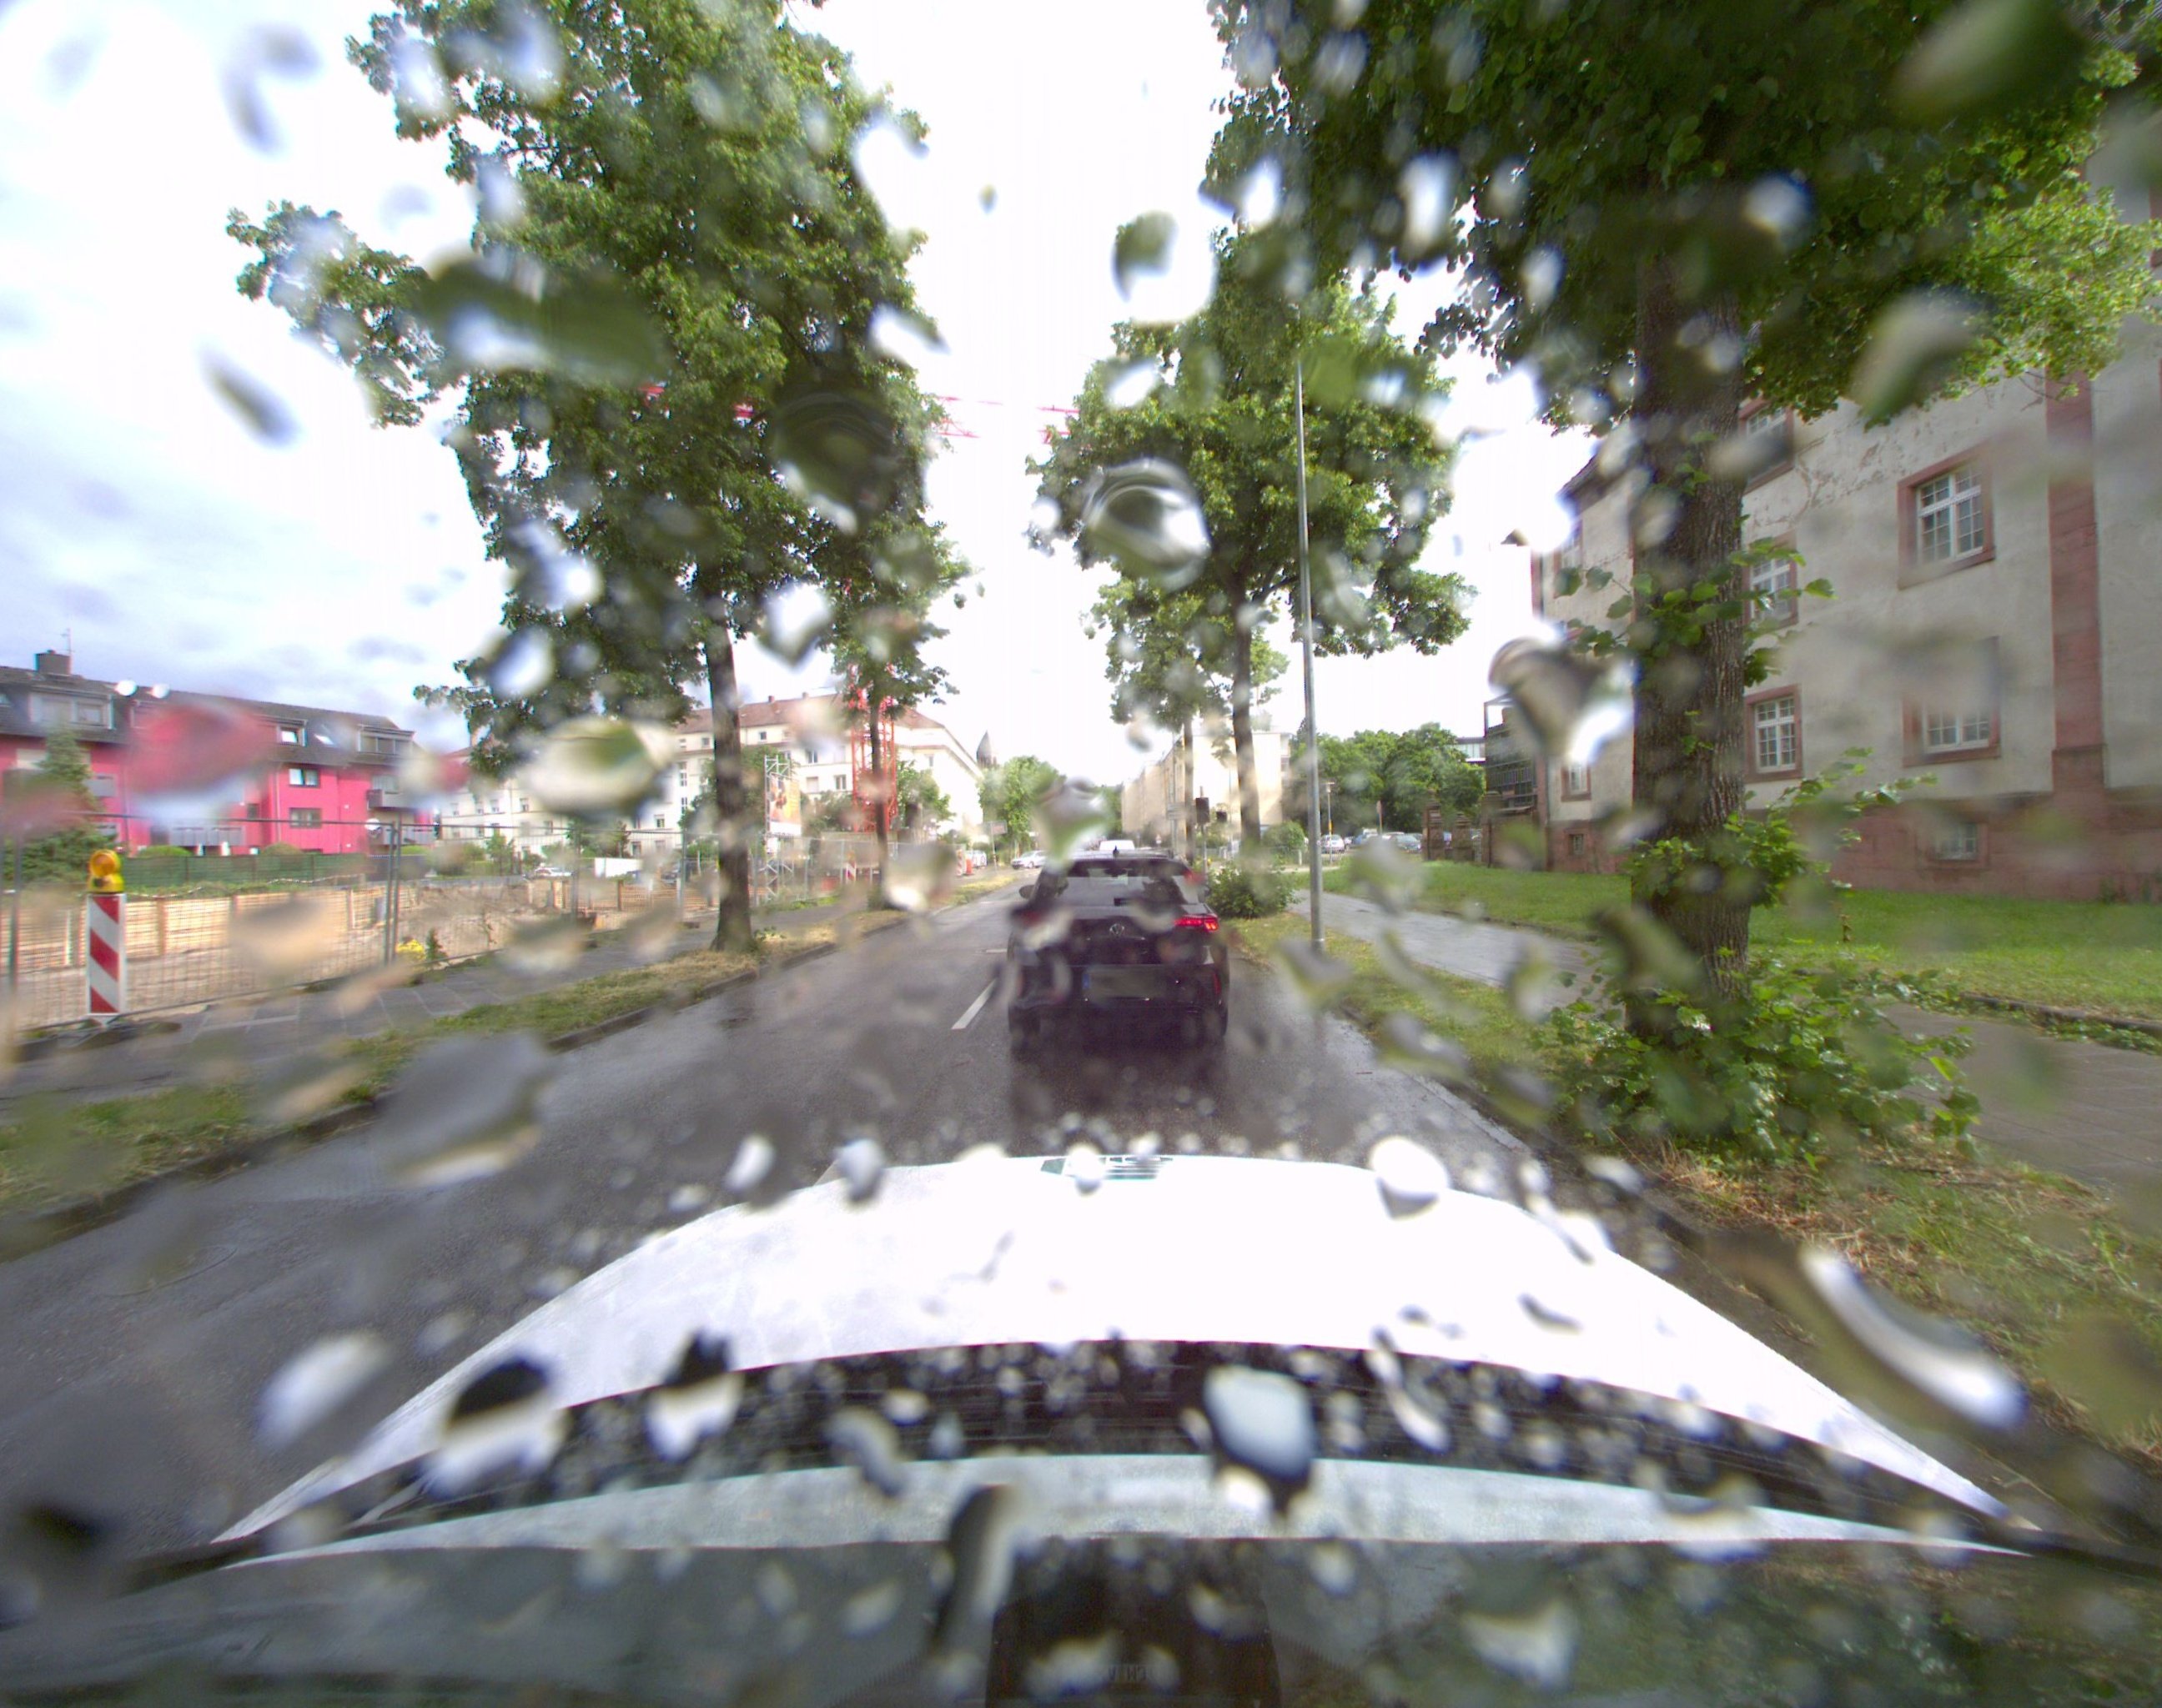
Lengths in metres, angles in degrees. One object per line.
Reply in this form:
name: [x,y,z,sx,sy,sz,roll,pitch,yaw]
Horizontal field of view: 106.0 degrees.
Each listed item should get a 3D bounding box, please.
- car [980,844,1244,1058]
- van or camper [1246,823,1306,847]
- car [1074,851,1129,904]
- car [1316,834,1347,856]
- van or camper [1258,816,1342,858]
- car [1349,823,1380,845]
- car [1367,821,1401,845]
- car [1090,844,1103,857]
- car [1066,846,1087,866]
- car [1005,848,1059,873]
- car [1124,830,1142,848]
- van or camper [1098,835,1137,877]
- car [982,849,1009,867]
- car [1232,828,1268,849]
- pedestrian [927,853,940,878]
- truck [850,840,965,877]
car: [0.300,0.693,7.939,1.887,1.522,4.002,-1,0,2]
van or camper: [17.225,-1.693,72.145,4.856,1.925,2.132,-1,1,2]
car: [0.809,0.800,29.695,1.672,1.708,3.915,-4,0,5]
car: [20.953,-0.746,68.240,1.733,1.683,3.879,-5,0,8]
van or camper: [14.755,-1.120,55.154,5.016,2.595,2.168,-3,0,0]
car: [29.067,-2.021,83.555,1.984,2.013,4.007,-5,0,6]
car: [29.020,-1.993,78.190,1.984,2.013,4.007,-5,0,6]
car: [2.015,-0.447,107.061,1.586,1.512,3.732,-5,0,1]
car: [-0.428,0.148,76.884,1.784,1.683,4.483,-5,0,-1]
car: [-3.972,0.530,66.310,3.937,1.651,1.748,-5,0,-20]
car: [6.397,-1.823,100.829,1.986,2.013,4.002,-2,0,2]
van or camper: [1.841,0.071,40.411,1.812,1.947,4.199,-1,1,3]
car: [-8.272,0.396,79.138,1.582,1.512,3.740,-5,0,8]
car: [17.031,-1.560,82.297,3.386,1.781,1.765,-5,0,10]
pedestrian: [-9.204,0.712,50.874,0.663,1.485,0.668,-2,1,-23]
truck: [-13.442,0.318,63.168,8.161,2.656,2.823,-1,1,11]
